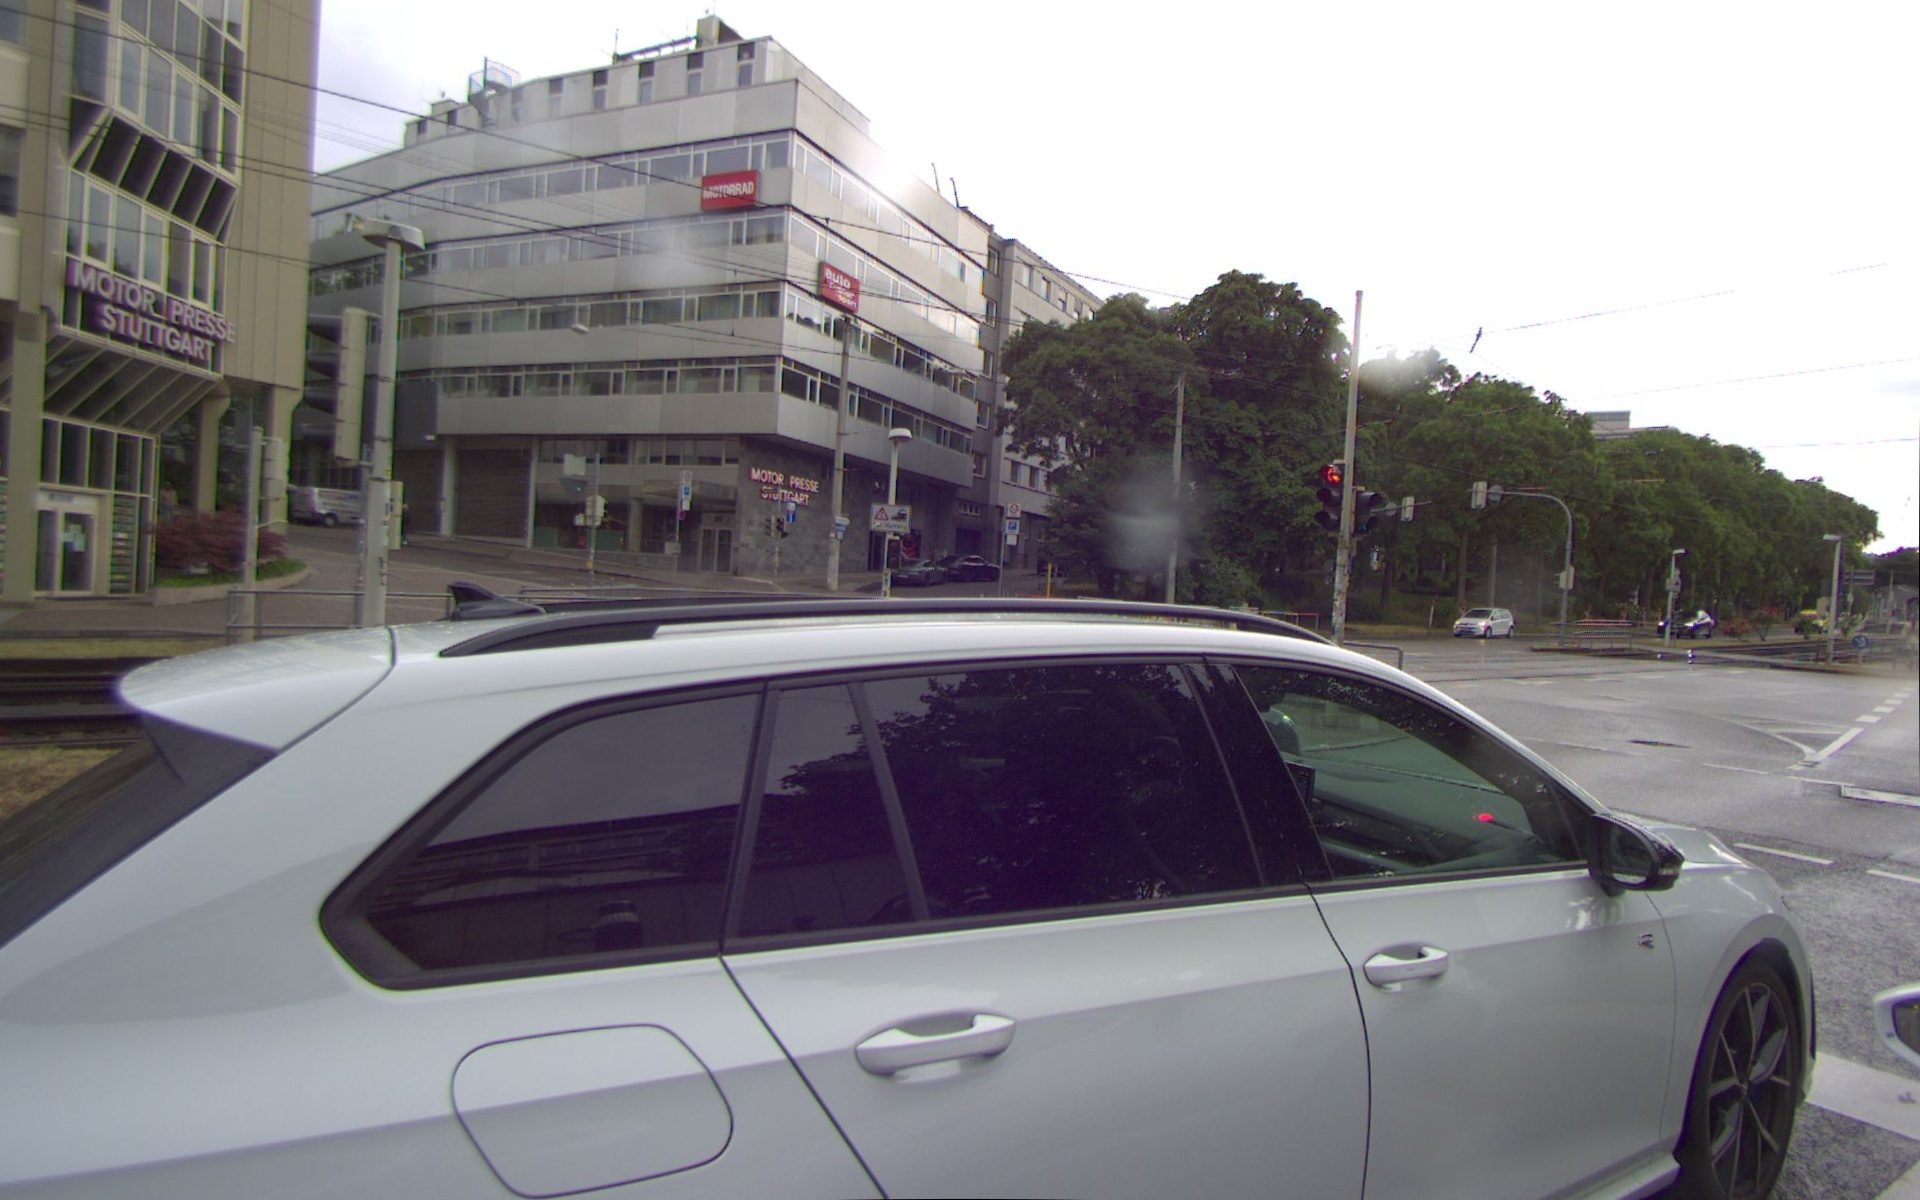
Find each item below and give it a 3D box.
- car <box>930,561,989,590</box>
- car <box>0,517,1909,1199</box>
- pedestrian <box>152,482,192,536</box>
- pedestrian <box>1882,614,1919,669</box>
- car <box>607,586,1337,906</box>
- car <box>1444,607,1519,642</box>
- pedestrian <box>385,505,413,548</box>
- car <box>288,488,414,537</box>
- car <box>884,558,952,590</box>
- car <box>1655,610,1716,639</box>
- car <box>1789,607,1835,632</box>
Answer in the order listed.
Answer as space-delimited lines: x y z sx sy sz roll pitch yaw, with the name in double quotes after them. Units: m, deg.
0.033 -1.353 55.587 1.842 1.450 3.998 3 2 22 "car"
0.304 0.705 2.476 4.423 1.461 1.787 2 0 -30 "car"
-27.961 -3.209 35.637 0.746 1.811 0.830 5 2 25 "pedestrian"
32.975 1.438 35.075 0.863 1.826 0.860 1 2 -33 "pedestrian"
0.201 0.722 6.489 4.423 1.461 1.787 2 0 -30 "car"
26.065 1.215 50.189 3.648 1.566 1.905 2 1 -37 "car"
-25.978 -3.405 46.526 0.833 1.886 0.719 5 2 25 "pedestrian"
-32.029 -4.543 52.996 1.964 2.040 5.403 2 0 30 "car"
-2.057 -1.293 50.613 1.842 1.450 4.091 3 2 22 "car"
42.883 1.471 59.373 3.648 1.566 1.905 2 1 -37 "car"
70.430 1.639 83.011 4.525 1.875 1.905 2 1 -38 "car"
